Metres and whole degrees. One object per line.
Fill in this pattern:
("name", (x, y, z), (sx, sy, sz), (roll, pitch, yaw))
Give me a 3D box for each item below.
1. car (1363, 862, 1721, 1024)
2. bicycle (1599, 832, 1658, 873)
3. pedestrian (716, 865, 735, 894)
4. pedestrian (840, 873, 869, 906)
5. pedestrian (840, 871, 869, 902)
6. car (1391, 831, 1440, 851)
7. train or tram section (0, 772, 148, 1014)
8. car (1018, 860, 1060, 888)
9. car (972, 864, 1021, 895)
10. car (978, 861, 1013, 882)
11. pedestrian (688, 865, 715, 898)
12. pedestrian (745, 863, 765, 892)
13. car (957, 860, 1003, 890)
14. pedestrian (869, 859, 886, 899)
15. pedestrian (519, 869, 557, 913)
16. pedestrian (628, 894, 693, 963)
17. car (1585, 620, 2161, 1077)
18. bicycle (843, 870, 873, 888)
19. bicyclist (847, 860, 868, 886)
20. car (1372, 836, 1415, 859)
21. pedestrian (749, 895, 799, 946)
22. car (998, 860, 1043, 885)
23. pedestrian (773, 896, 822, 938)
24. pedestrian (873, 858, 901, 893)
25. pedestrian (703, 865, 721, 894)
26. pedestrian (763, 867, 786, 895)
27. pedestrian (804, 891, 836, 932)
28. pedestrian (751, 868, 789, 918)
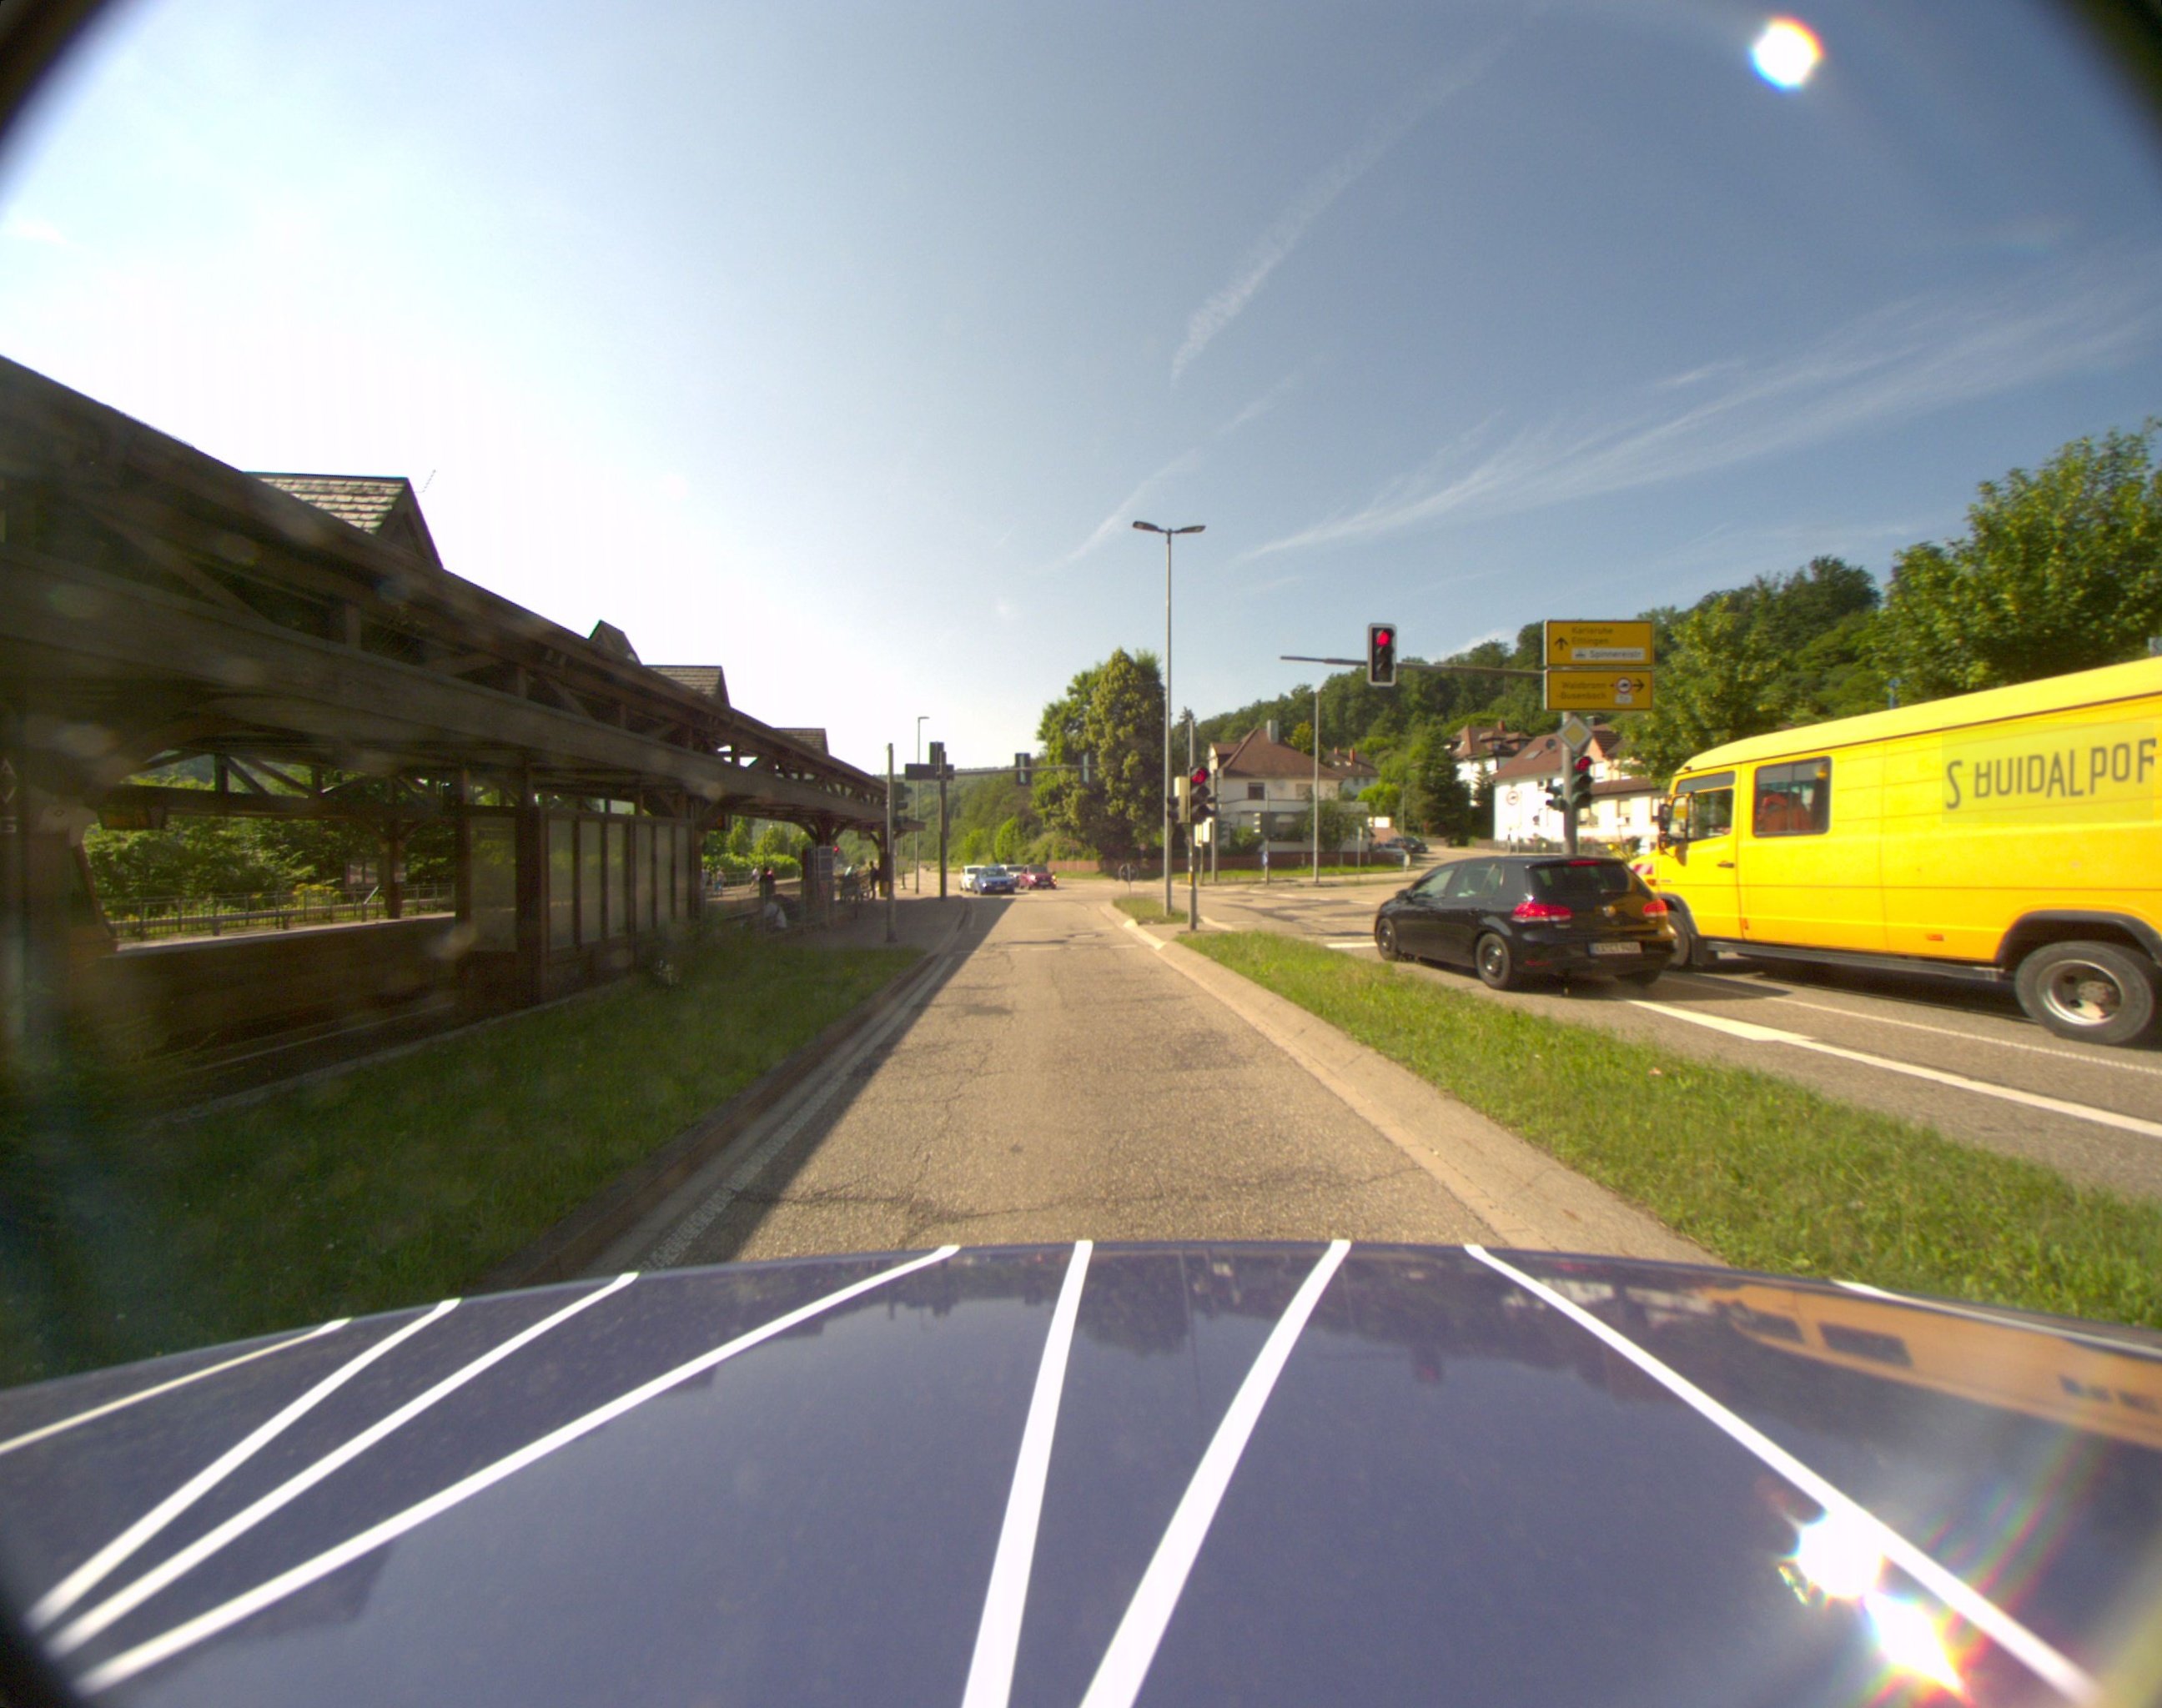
("car", (5.124, 0.862, 9.217), (1.750, 1.454, 4.042), (-1, 0, -3))
("bicycle", (18.320, -0.039, 25.472), (0.620, 1.247, 1.758), (-6, -2, 2))
("pedestrian", (-20.996, 1.491, 44.848), (0.905, 1.674, 0.821), (-3, -1, -23))
("pedestrian", (-8.703, 1.362, 29.228), (0.994, 1.228, 0.596), (-3, -1, -14))
("pedestrian", (-9.055, 1.281, 30.415), (1.010, 1.153, 0.947), (-2, 1, -13))
("car", (30.316, -1.245, 68.952), (1.980, 1.477, 4.745), (-4, 4, -5))
("train or tram section", (-16.080, 0.584, 4.914), (2.864, 3.345, 14.349), (-2, 0, -3))
("car", (-2.517, 1.170, 44.613), (1.663, 1.525, 3.950), (-2, -1, -16))
("car", (-4.404, 1.267, 39.037), (1.867, 1.474, 4.296), (-1, 0, -15))
("car", (-6.659, 1.332, 58.740), (1.982, 1.495, 3.982), (-2, -1, -17))
("pedestrian", (-21.908, 1.582, 43.921), (0.990, 1.831, 1.073), (-2, -1, 0))
("pedestrian", (-19.885, 1.442, 46.362), (0.868, 1.674, 0.822), (-3, -1, -7))
("car", (-6.143, 1.249, 45.766), (2.001, 1.575, 3.994), (-3, 0, -17))
("pedestrian", (-8.859, 1.085, 33.107), (0.659, 1.682, 0.738), (-1, 0, -13))
("pedestrian", (-21.324, 1.427, 29.849), (0.736, 1.674, 0.904), (-3, -1, 0))
("pedestrian", (-7.277, 1.276, 13.175), (0.744, 1.110, 0.667), (-3, -1, -7))
("car", (8.197, -0.080, 7.011), (2.474, 2.993, 6.464), (-3, 0, -3))
("bicycle", (-14.279, 1.605, 48.579), (1.810, 1.049, 0.605), (-3, 1, 21))
("bicyclist", (-14.318, 1.203, 48.644), (0.945, 1.559, 0.788), (-3, 1, 17))
("car", (25.861, -0.509, 63.095), (1.939, 1.627, 4.001), (-3, -1, 2))
("pedestrian", (-6.403, 1.370, 15.864), (0.744, 0.976, 0.769), (-3, -1, -7))
("car", (-4.125, 1.253, 50.942), (1.982, 1.495, 4.745), (-2, -1, -17))
("pedestrian", (-6.460, 1.429, 17.340), (0.847, 0.869, 0.807), (-3, -1, -7))
("pedestrian", (-9.957, 1.093, 38.960), (0.918, 1.726, 1.248), (-3, -1, -35))
("pedestrian", (-22.085, 1.502, 45.493), (0.558, 1.674, 0.685), (-3, -1, 21))
("pedestrian", (-18.626, 1.626, 46.126), (0.902, 1.674, 0.824), (-3, -1, 23))
("pedestrian", (-6.459, 1.426, 18.831), (0.619, 0.960, 0.406), (-3, -1, -7))
("pedestrian", (-9.790, 1.206, 23.964), (0.863, 1.538, 0.922), (-1, -1, -5))
